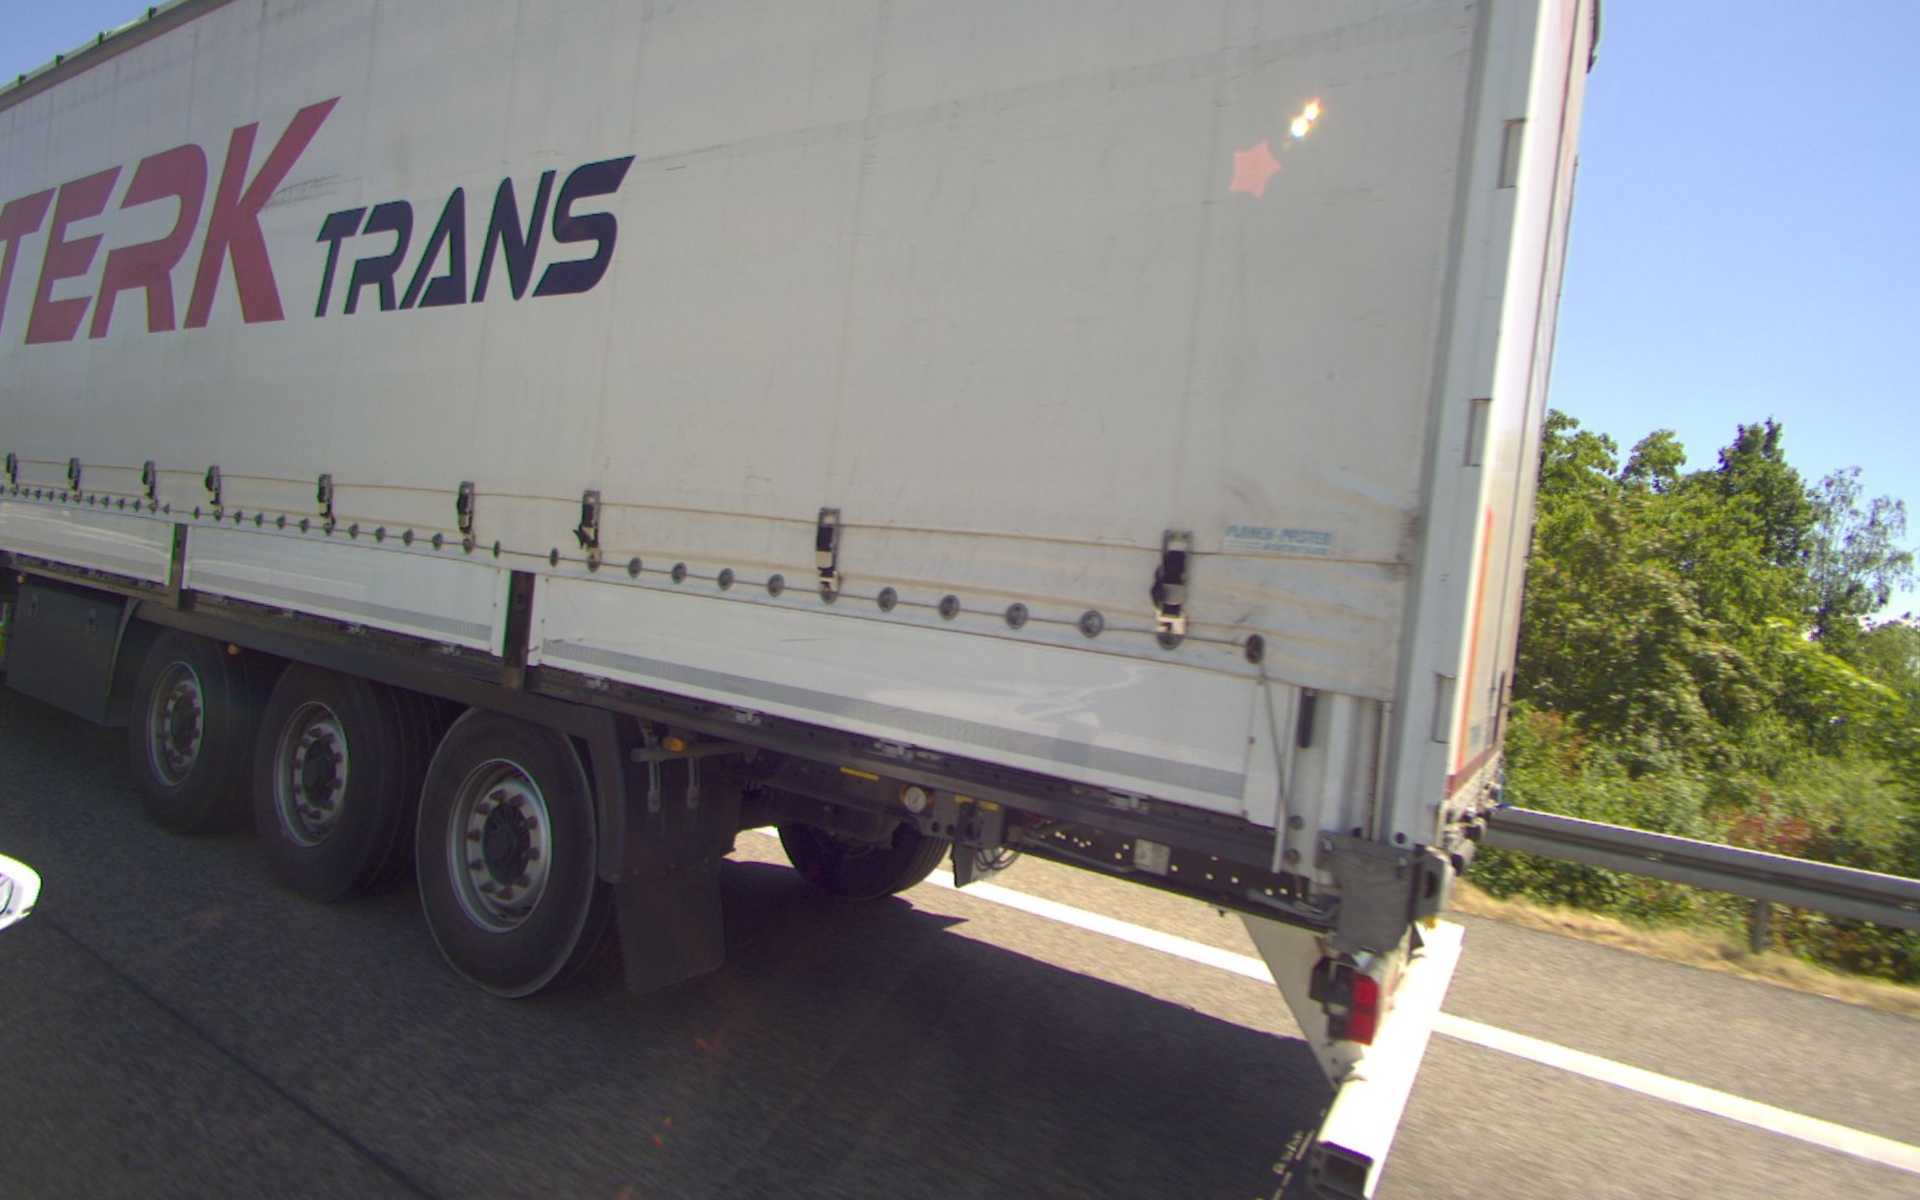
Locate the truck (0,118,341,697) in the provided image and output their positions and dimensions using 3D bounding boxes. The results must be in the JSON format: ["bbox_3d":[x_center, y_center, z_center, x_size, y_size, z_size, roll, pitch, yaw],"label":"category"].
[{"bbox_3d":[-9.511,-1.631,9.881,6.850,4.136,2.712,7,-1,32],"label":"truck"}]

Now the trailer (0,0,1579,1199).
[{"bbox_3d":[-4.291,-1.023,6.611,13.917,4.136,2.712,6,-1,32],"label":"trailer"}]
